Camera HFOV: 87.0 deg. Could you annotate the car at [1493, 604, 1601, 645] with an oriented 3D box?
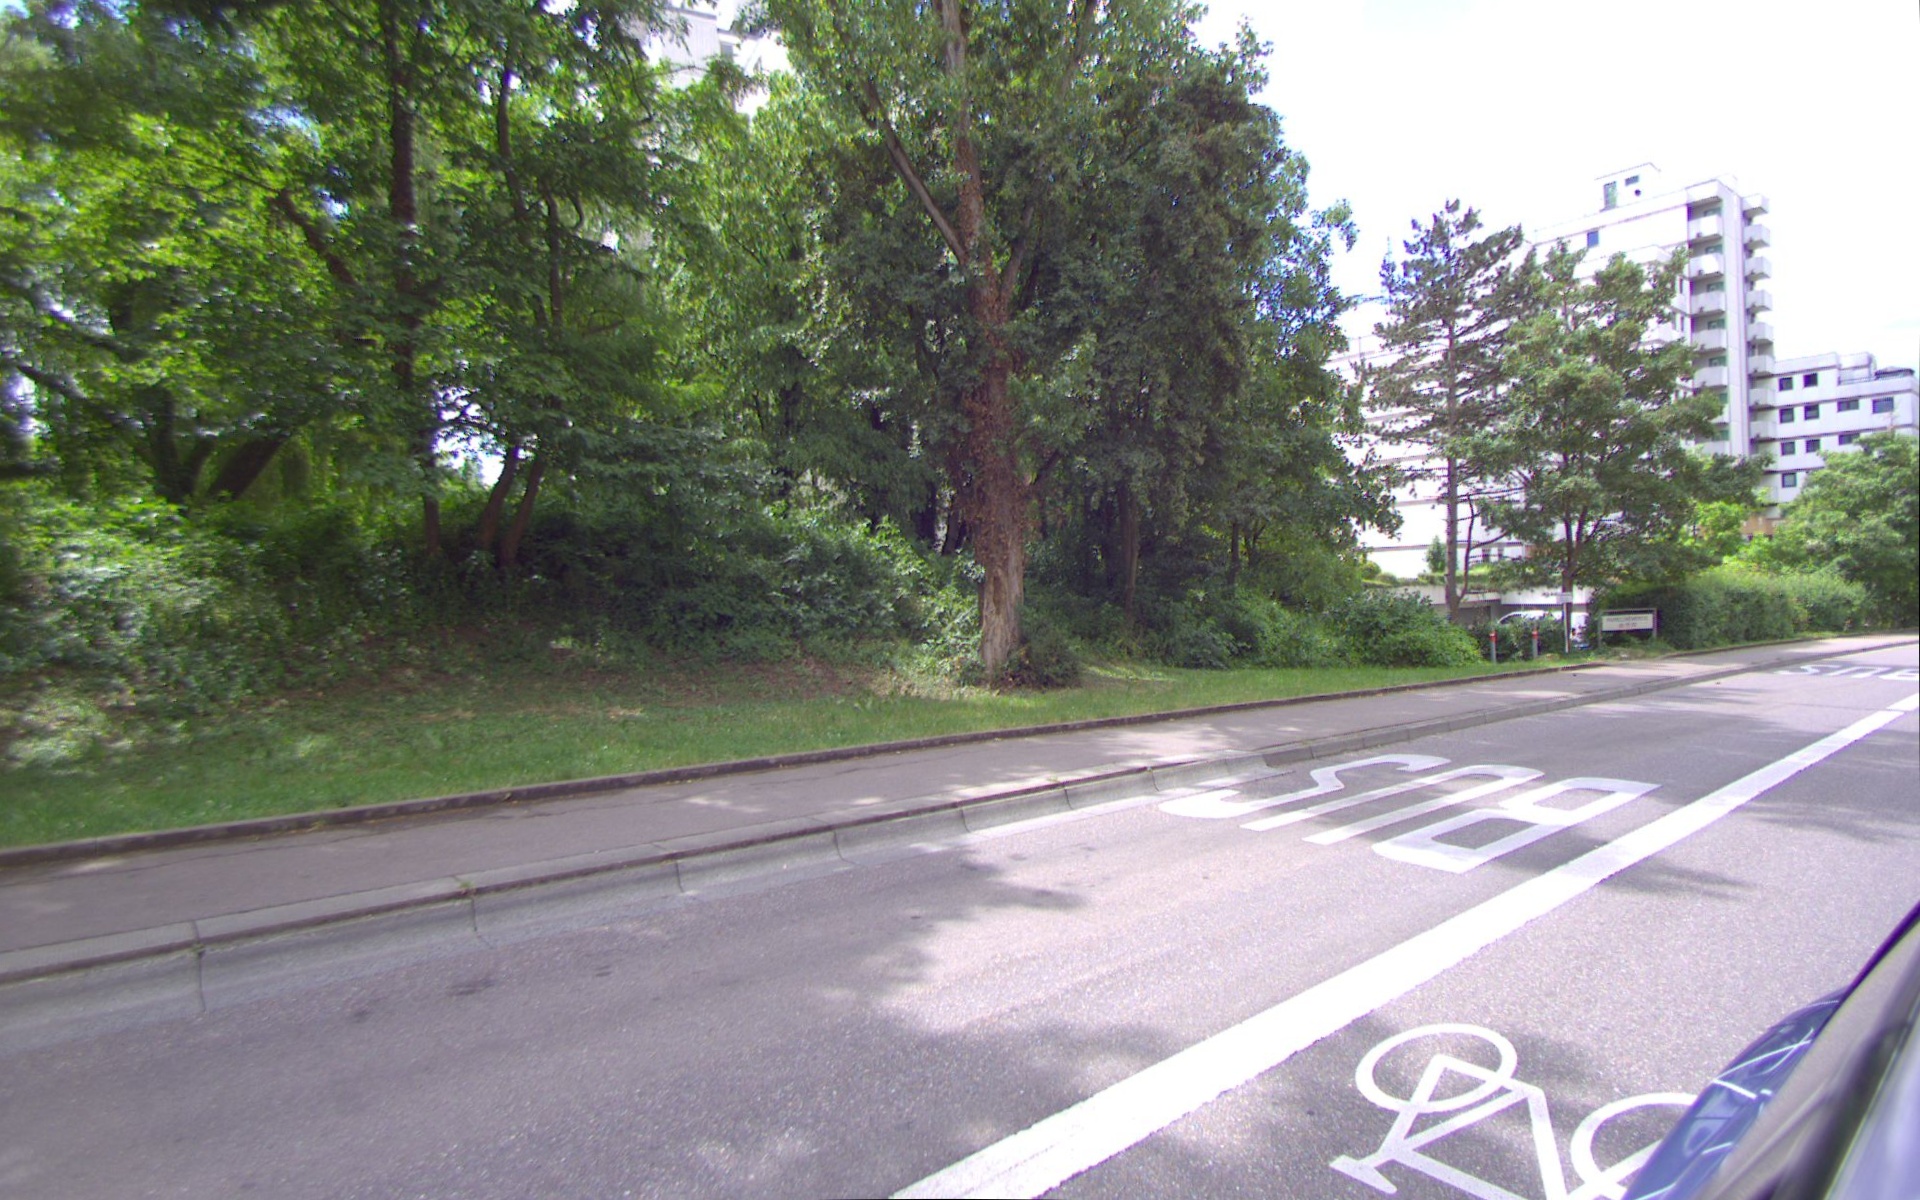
[{"bbox_3d":[31.026,1.227,53.640,1.962,2.039,4.549,-1,0,-34],"label":"car"}]
